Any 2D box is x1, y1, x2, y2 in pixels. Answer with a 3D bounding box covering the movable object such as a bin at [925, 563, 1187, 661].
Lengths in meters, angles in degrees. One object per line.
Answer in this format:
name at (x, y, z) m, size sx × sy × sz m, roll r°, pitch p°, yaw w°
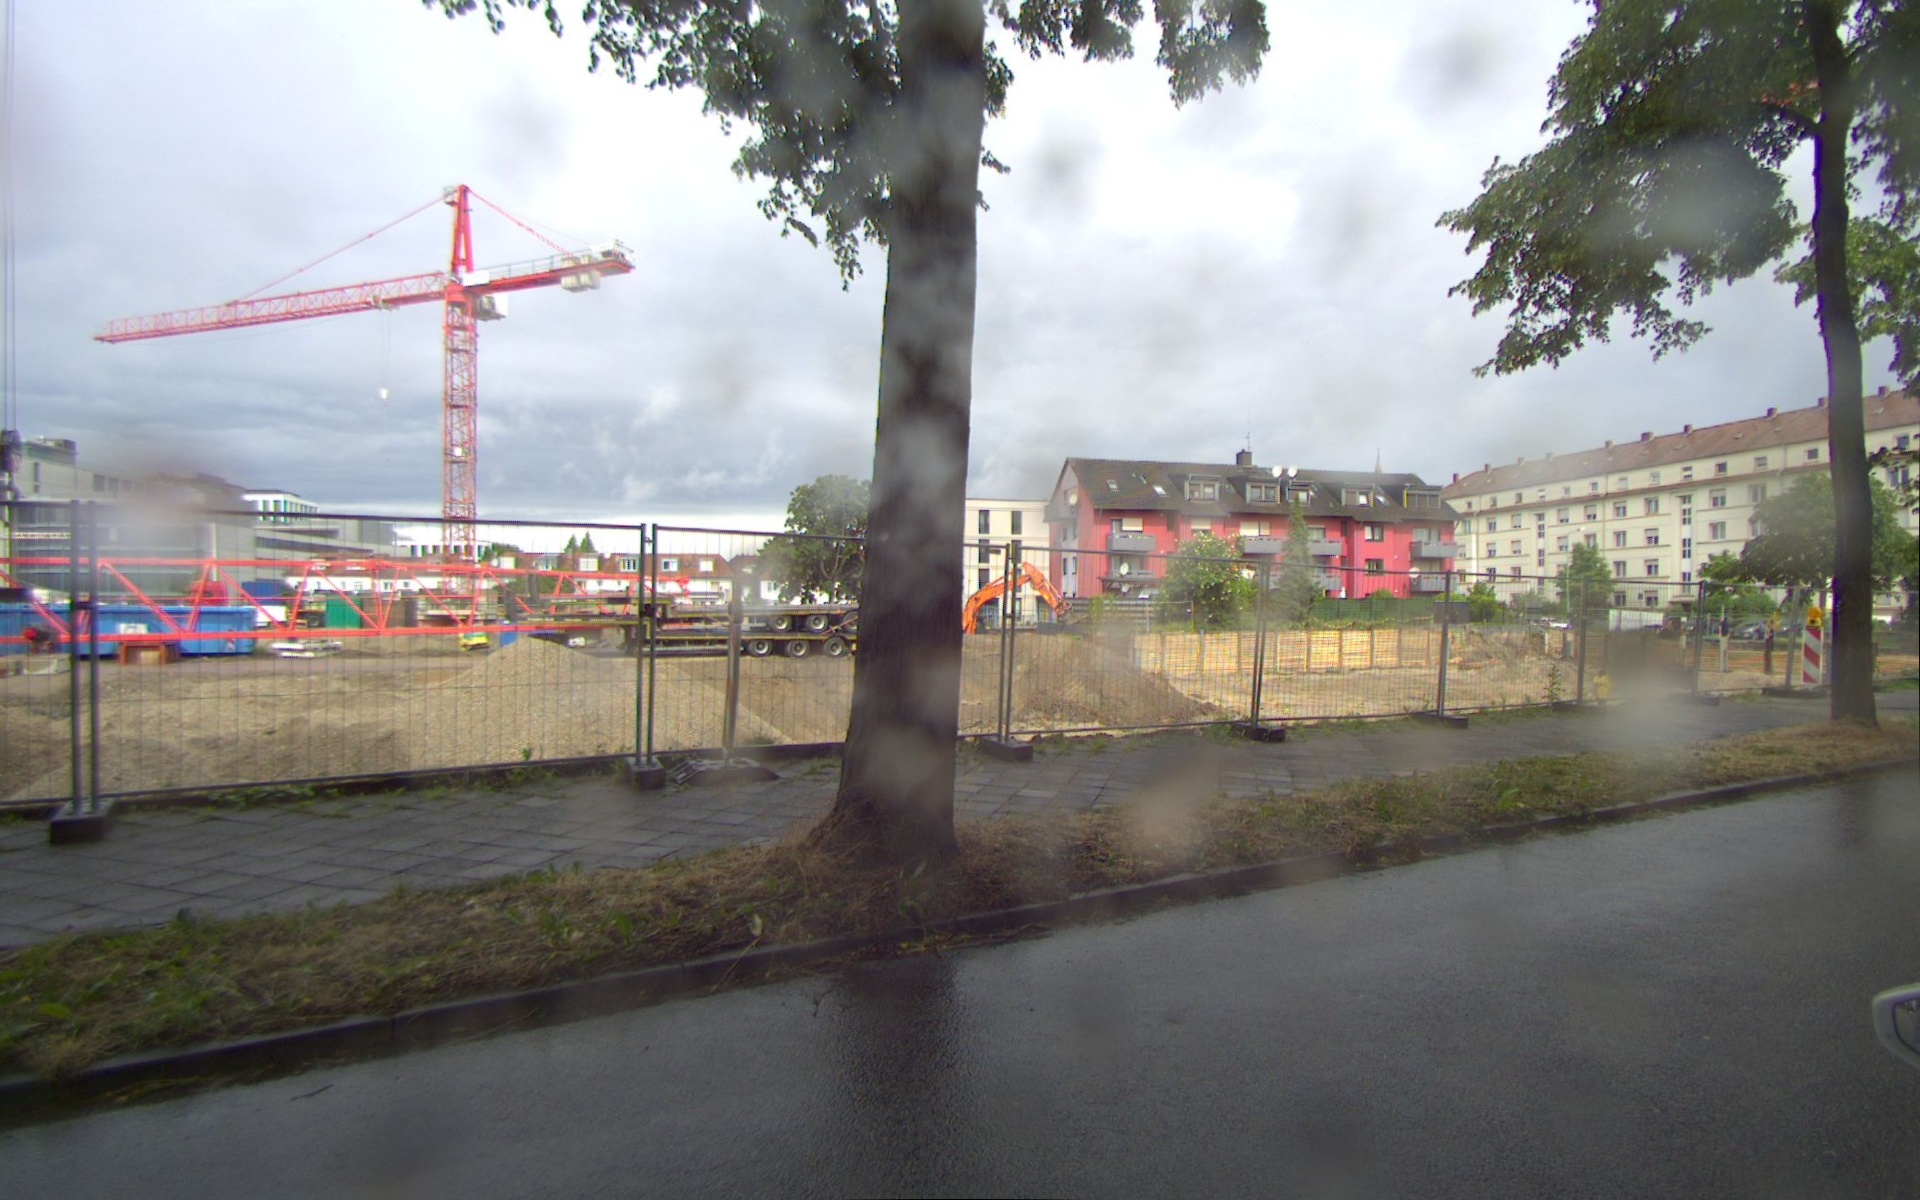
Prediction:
movable object such as a bin at (6.083, 0.713, 67.149) m, size 16.429 × 6.125 × 6.885 m, roll 0°, pitch 0°, yaw -6°
